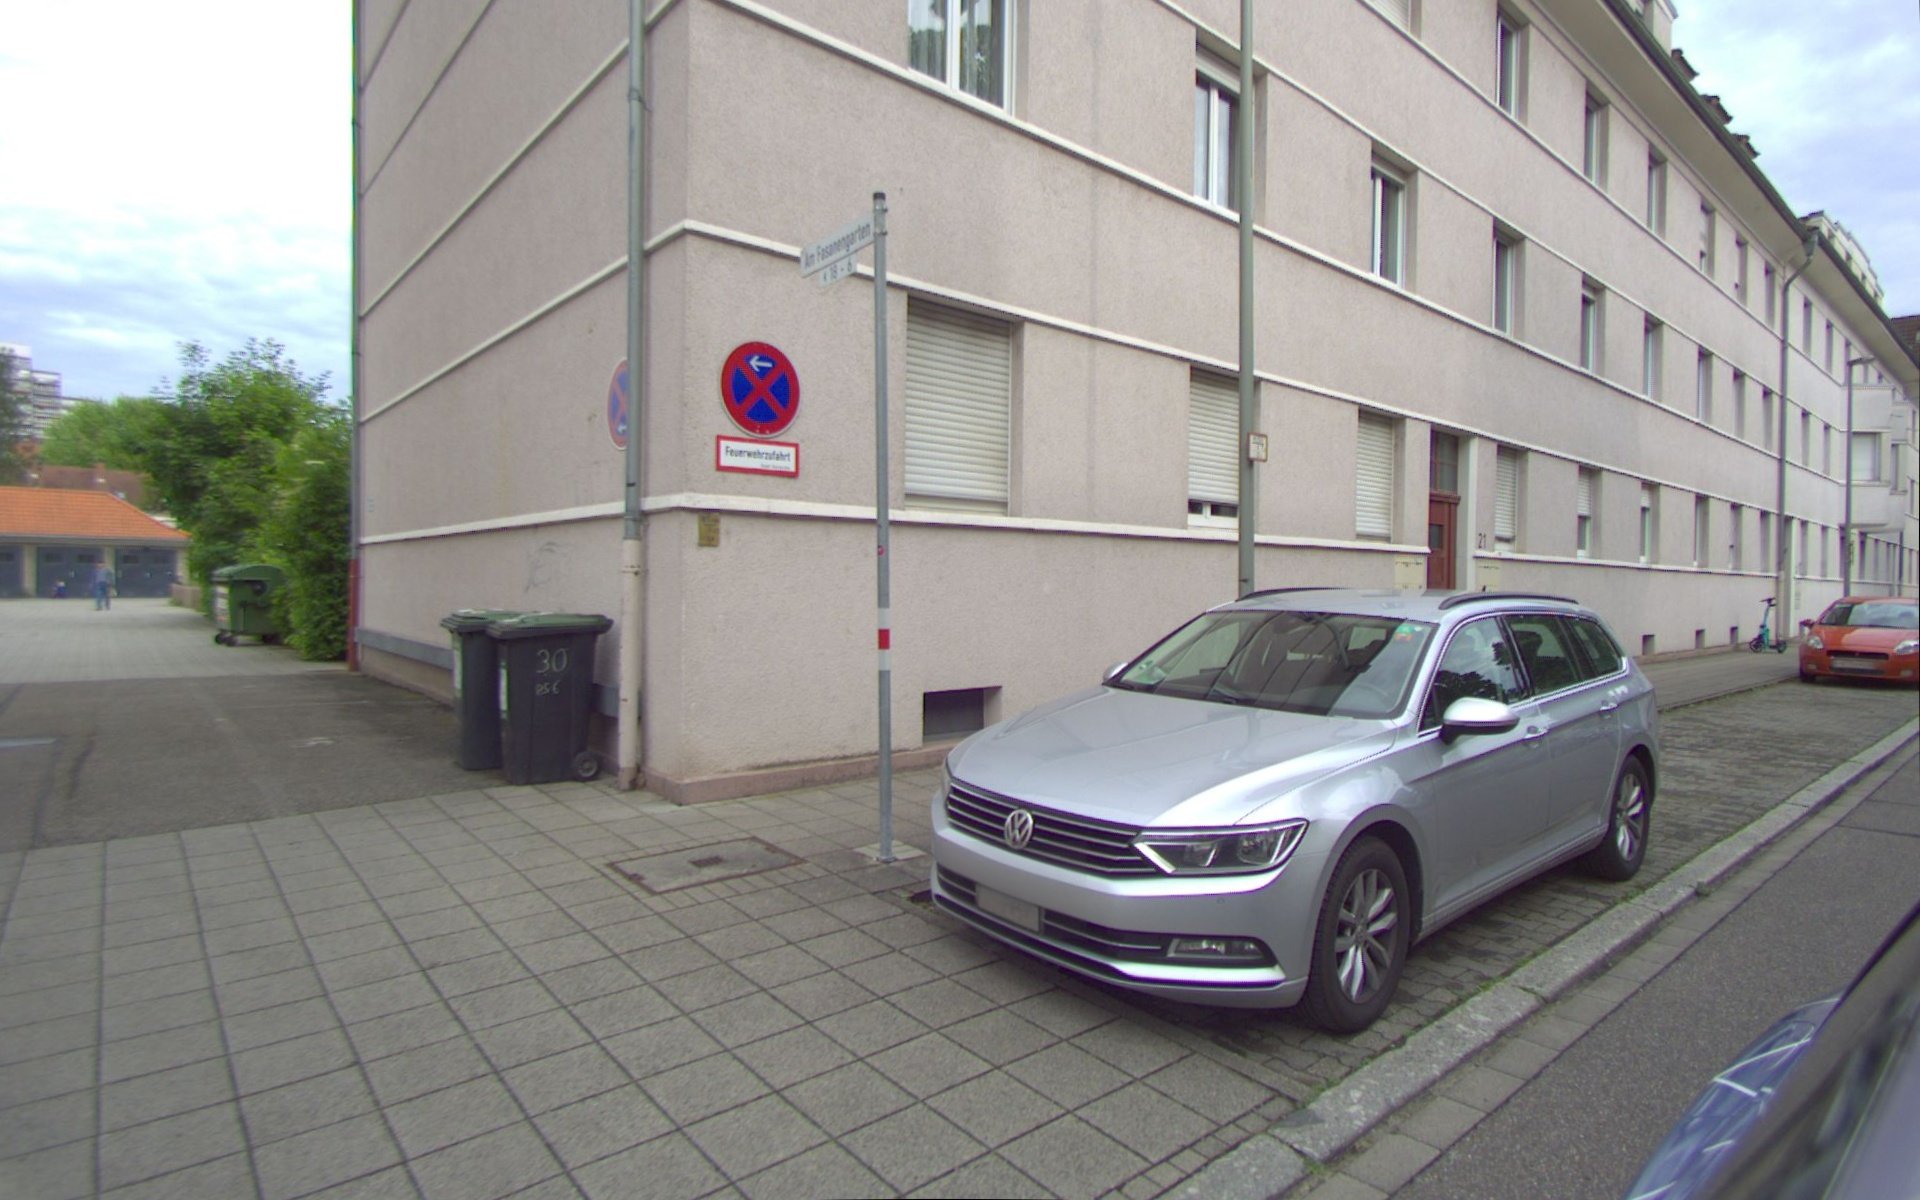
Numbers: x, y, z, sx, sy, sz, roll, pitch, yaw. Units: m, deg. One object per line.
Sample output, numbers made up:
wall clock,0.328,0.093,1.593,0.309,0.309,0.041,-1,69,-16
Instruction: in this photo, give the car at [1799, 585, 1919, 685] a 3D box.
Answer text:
car,15.787,0.520,17.185,3.707,1.504,1.757,0,2,-41

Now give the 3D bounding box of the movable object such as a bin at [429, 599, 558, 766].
movable object such as a bin,-3.204,0.531,6.949,0.693,1.055,0.550,0,2,-38

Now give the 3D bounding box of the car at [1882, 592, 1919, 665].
car,20.168,0.560,20.854,3.252,1.430,1.352,0,2,-41

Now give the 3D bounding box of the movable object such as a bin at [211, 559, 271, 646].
movable object such as a bin,-12.968,0.018,18.243,0.850,1.513,0.972,0,2,-38

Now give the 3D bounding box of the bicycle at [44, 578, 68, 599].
bicycle,-40.765,-0.545,45.643,0.726,0.902,1.621,0,2,-45

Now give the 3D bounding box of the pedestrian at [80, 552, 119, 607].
pedestrian,-30.007,-0.708,35.299,0.960,1.889,0.976,0,1,-36

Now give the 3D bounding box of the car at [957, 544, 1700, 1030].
car,2.069,0.531,5.069,3.969,1.482,1.791,0,2,-41

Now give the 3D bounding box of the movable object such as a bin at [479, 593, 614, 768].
movable object such as a bin,-2.700,0.487,6.601,0.693,1.055,0.550,0,2,-38

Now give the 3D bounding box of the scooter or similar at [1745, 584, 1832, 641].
scooter or similar,18.604,0.274,22.739,1.441,1.248,0.652,1,1,-4

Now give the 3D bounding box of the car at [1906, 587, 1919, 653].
car,24.061,0.480,24.300,3.425,1.527,1.587,0,2,-41
